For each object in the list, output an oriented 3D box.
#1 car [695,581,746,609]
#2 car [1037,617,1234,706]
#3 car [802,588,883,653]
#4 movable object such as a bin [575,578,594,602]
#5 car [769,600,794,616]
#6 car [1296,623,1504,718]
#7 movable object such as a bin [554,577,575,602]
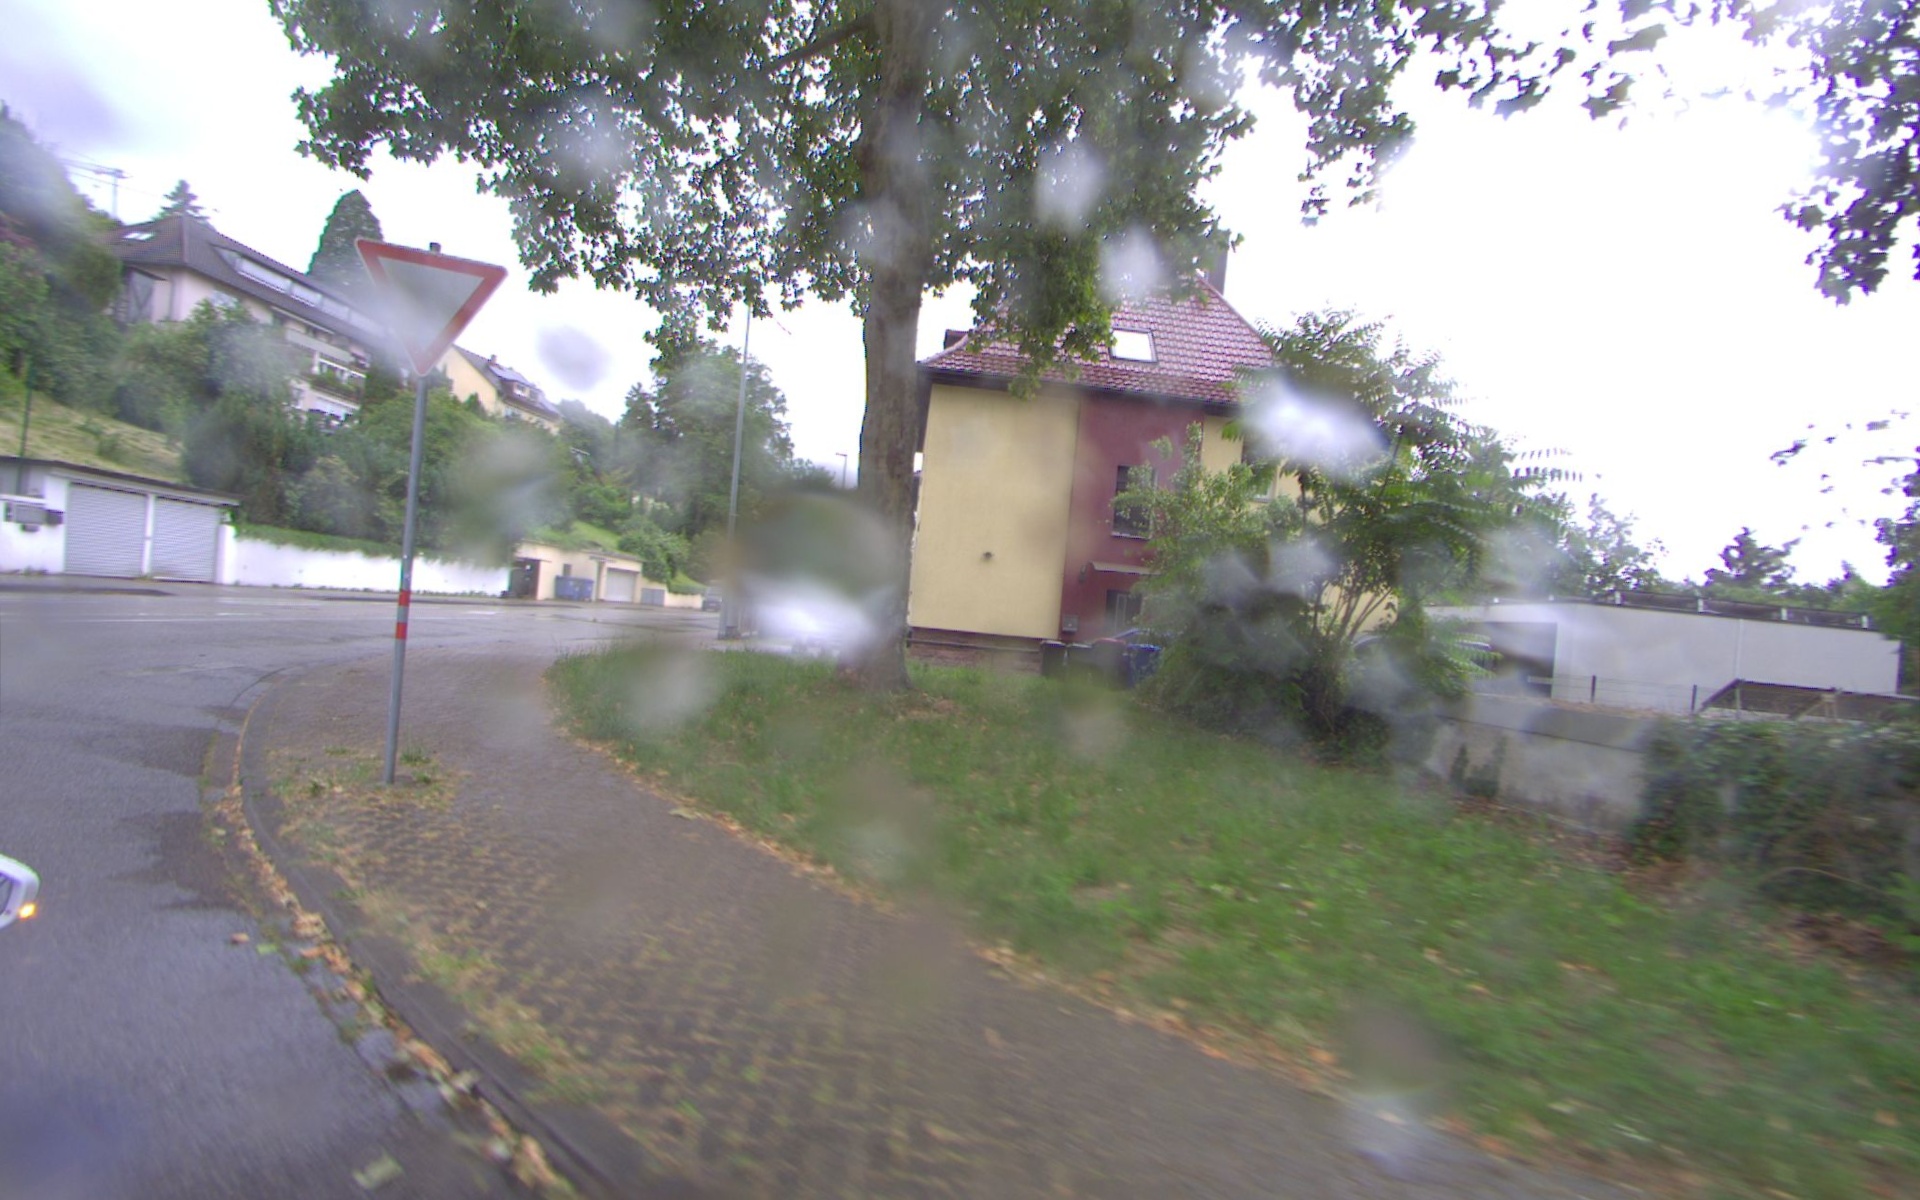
[{"bbox_3d":[-17.718,-0.353,74.621,2.260,1.775,5.179,5,0,2],"label":"car"},{"bbox_3d":[3.320,1.158,19.386,3.392,1.315,1.544,5,1,-4],"label":"car"},{"bbox_3d":[-3.016,0.501,26.447,1.620,1.465,3.548,5,0,0],"label":"car"},{"bbox_3d":[-22.190,-0.588,59.480,0.699,1.353,0.834,5,1,5],"label":"movable object such as a bin"},{"bbox_3d":[-17.106,0.776,96.690,1.684,1.362,3.679,5,0,0],"label":"car"},{"bbox_3d":[8.660,1.374,19.940,3.367,1.490,1.490,5,1,-4],"label":"car"},{"bbox_3d":[-22.495,-0.569,57.252,0.699,1.353,0.834,5,1,5],"label":"movable object such as a bin"}]
